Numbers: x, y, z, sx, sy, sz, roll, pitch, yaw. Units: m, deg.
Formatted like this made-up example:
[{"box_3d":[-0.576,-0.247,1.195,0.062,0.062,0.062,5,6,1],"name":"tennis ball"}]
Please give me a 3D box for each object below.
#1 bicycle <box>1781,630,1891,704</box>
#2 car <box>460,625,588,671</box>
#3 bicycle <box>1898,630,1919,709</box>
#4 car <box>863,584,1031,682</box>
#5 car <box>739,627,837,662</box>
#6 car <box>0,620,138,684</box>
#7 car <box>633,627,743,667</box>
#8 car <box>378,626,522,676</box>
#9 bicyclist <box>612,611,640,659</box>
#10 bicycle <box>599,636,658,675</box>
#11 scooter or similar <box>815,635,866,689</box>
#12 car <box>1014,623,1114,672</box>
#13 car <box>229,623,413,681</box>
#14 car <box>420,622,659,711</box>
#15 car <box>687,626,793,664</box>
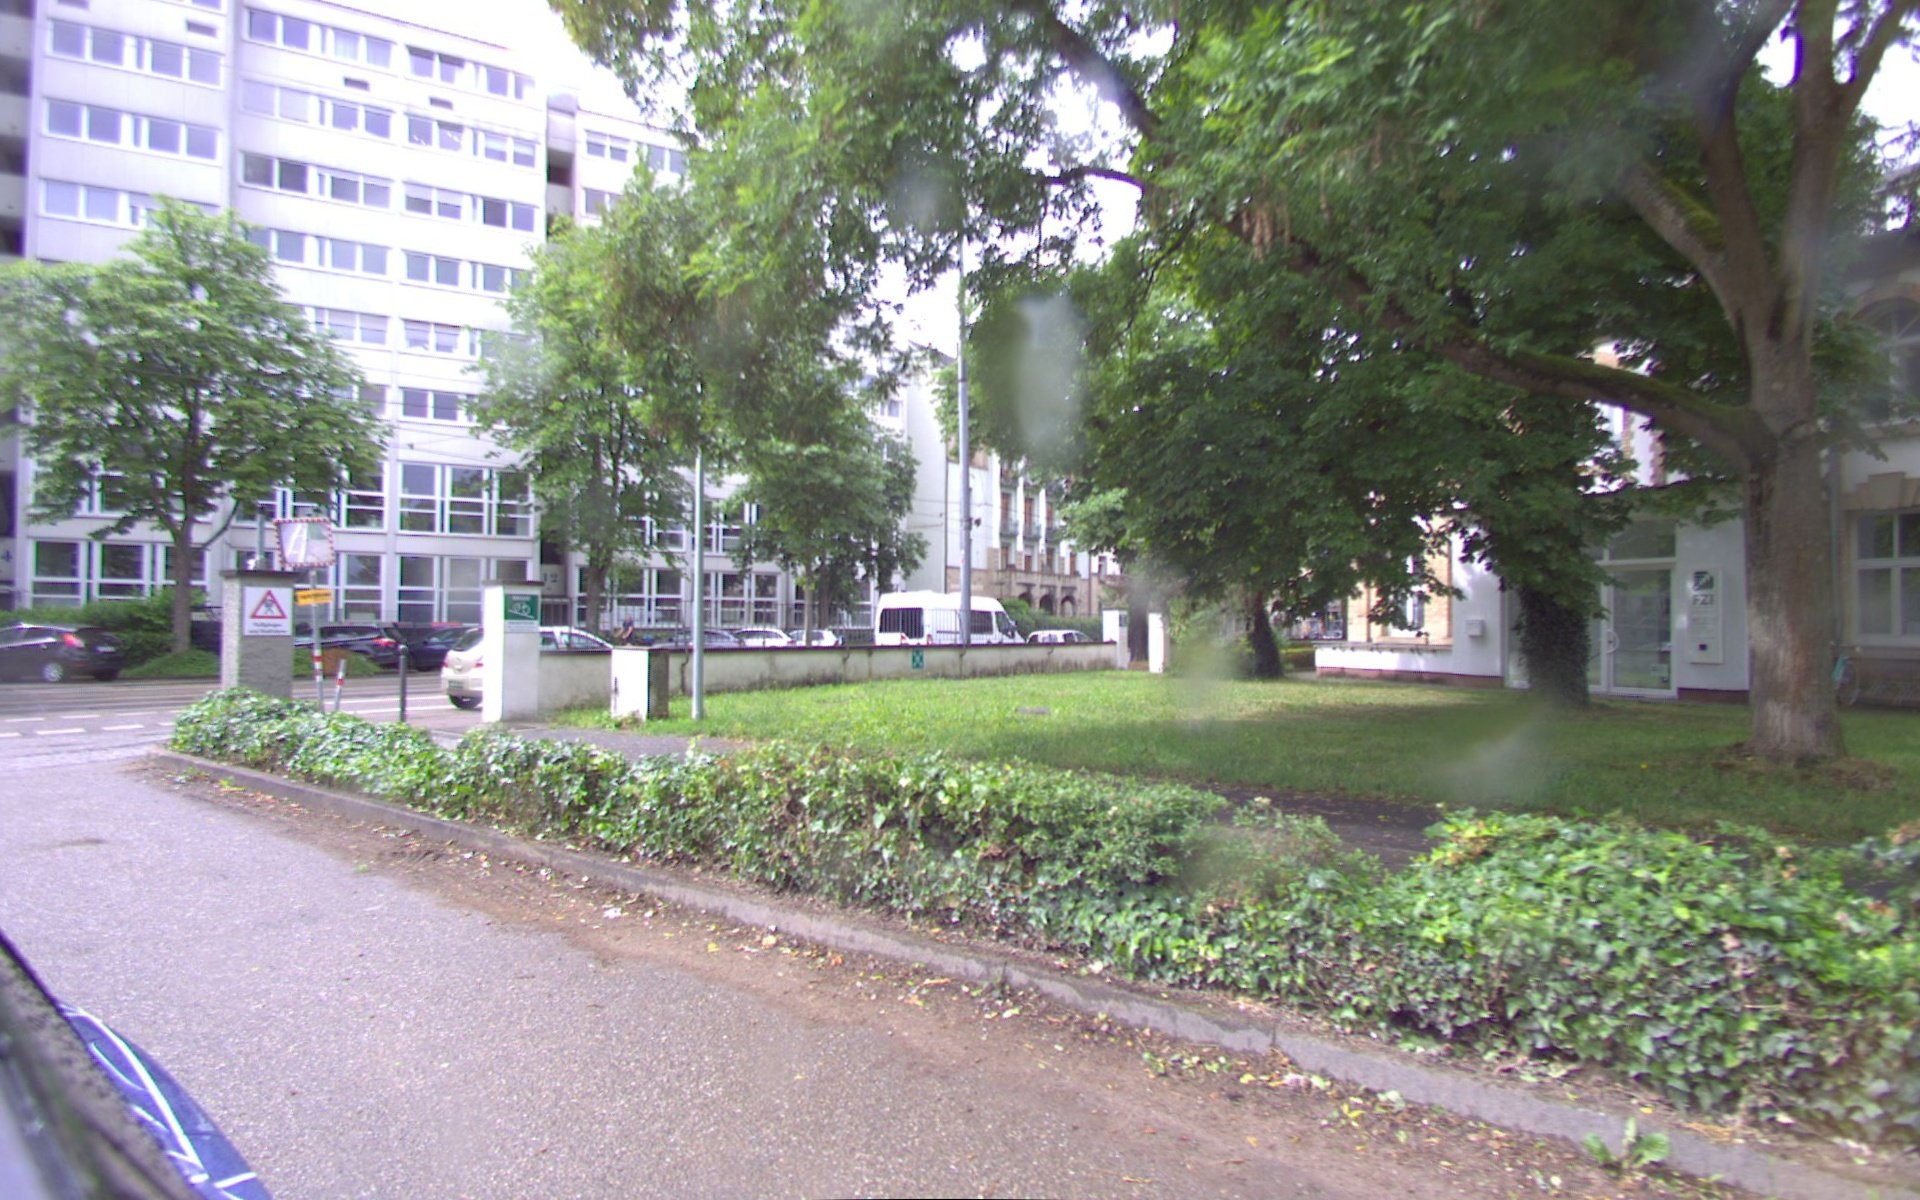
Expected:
[{"box_3d":[13.924,1.056,16.080,1.893,1.124,0.619,2,-3,-27],"name":"bicycle"},{"box_3d":[-15.278,1.685,35.624,3.819,1.465,1.781,-1,-2,-9],"name":"car"},{"box_3d":[14.586,1.010,14.794,1.893,1.124,0.619,2,-3,-27],"name":"bicycle"},{"box_3d":[-0.266,0.979,28.979,2.135,2.529,5.210,-3,-3,35],"name":"car"},{"box_3d":[-7.834,2.025,46.300,4.302,1.464,1.909,-1,-2,-8],"name":"car"},{"box_3d":[-22.871,1.268,24.815,3.920,1.492,1.817,-1,-2,-2],"name":"car"},{"box_3d":[-11.000,1.880,41.203,4.140,1.464,1.817,-1,-2,-8],"name":"car"},{"box_3d":[-16.476,1.631,32.857,3.819,1.465,1.826,-1,-2,-9],"name":"car"},{"box_3d":[-11.374,1.187,34.477,0.645,1.630,0.664,-3,-3,42],"name":"bicyclist"},{"box_3d":[-11.288,1.886,34.523,0.645,1.276,1.843,-3,-2,41],"name":"bicycle"},{"box_3d":[-2.937,1.518,24.934,1.136,1.287,0.425,0,-4,11],"name":"scooter or similar"},{"box_3d":[3.562,1.616,34.255,1.911,1.563,3.327,-3,-4,37],"name":"car"},{"box_3d":[-19.039,1.549,30.345,4.300,1.567,1.882,-1,-3,-10],"name":"car"},{"box_3d":[-7.652,1.180,18.707,1.686,1.471,3.787,-3,-3,35],"name":"car"},{"box_3d":[-9.443,1.926,43.661,4.325,1.464,1.888,-1,-2,-8],"name":"car"}]
